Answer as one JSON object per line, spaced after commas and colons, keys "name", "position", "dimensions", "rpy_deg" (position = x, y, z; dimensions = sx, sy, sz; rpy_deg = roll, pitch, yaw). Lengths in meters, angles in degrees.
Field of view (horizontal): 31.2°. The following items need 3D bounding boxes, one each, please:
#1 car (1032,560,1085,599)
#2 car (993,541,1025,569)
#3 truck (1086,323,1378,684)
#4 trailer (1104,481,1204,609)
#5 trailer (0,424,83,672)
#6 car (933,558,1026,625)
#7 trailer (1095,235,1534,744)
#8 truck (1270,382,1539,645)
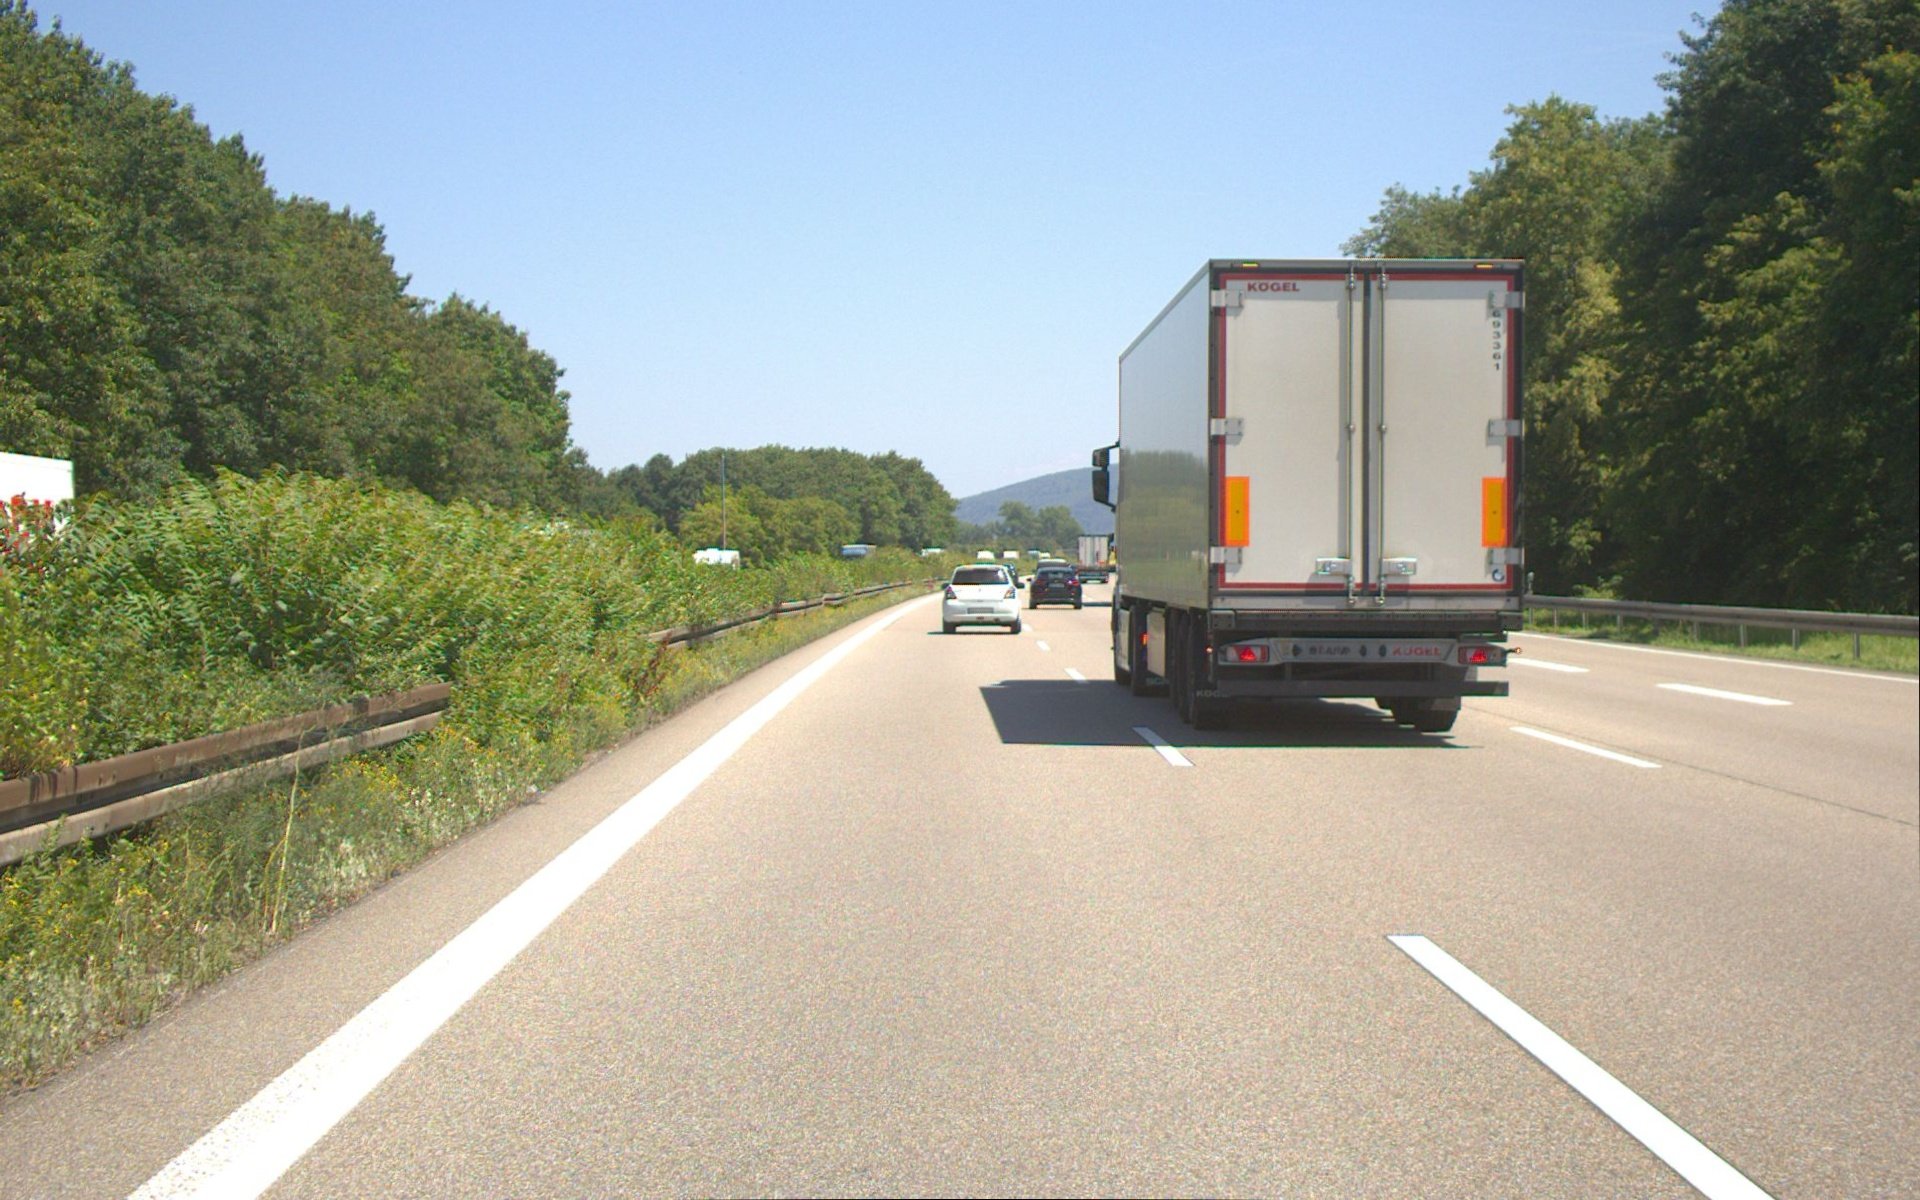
{"name": "car", "position": [3.440, -0.721, 119.045], "dimensions": [1.668, 1.285, 4.000], "rpy_deg": [0, 1, 4]}
{"name": "car", "position": [3.522, -3.289, 249.102], "dimensions": [2.107, 2.007, 4.000], "rpy_deg": [0, 1, -2]}
{"name": "truck", "position": [3.236, -1.156, 42.098], "dimensions": [3.229, 4.143, 4.560], "rpy_deg": [-1, 1, 1]}
{"name": "trailer", "position": [7.280, -2.072, 130.588], "dimensions": [3.182, 4.611, 12.050], "rpy_deg": [0, 1, 0]}
{"name": "trailer", "position": [-17.070, -0.831, 55.161], "dimensions": [2.920, 4.036, 12.916], "rpy_deg": [0, 1, -1]}
{"name": "car", "position": [0.406, -0.205, 76.039], "dimensions": [1.811, 1.400, 3.318], "rpy_deg": [-1, 1, -4]}
{"name": "trailer", "position": [3.140, -1.007, 34.289], "dimensions": [3.223, 4.129, 12.352], "rpy_deg": [-1, 1, 1]}
{"name": "truck", "position": [7.842, -1.526, 62.284], "dimensions": [3.223, 4.330, 10.808], "rpy_deg": [-1, 1, -1]}
